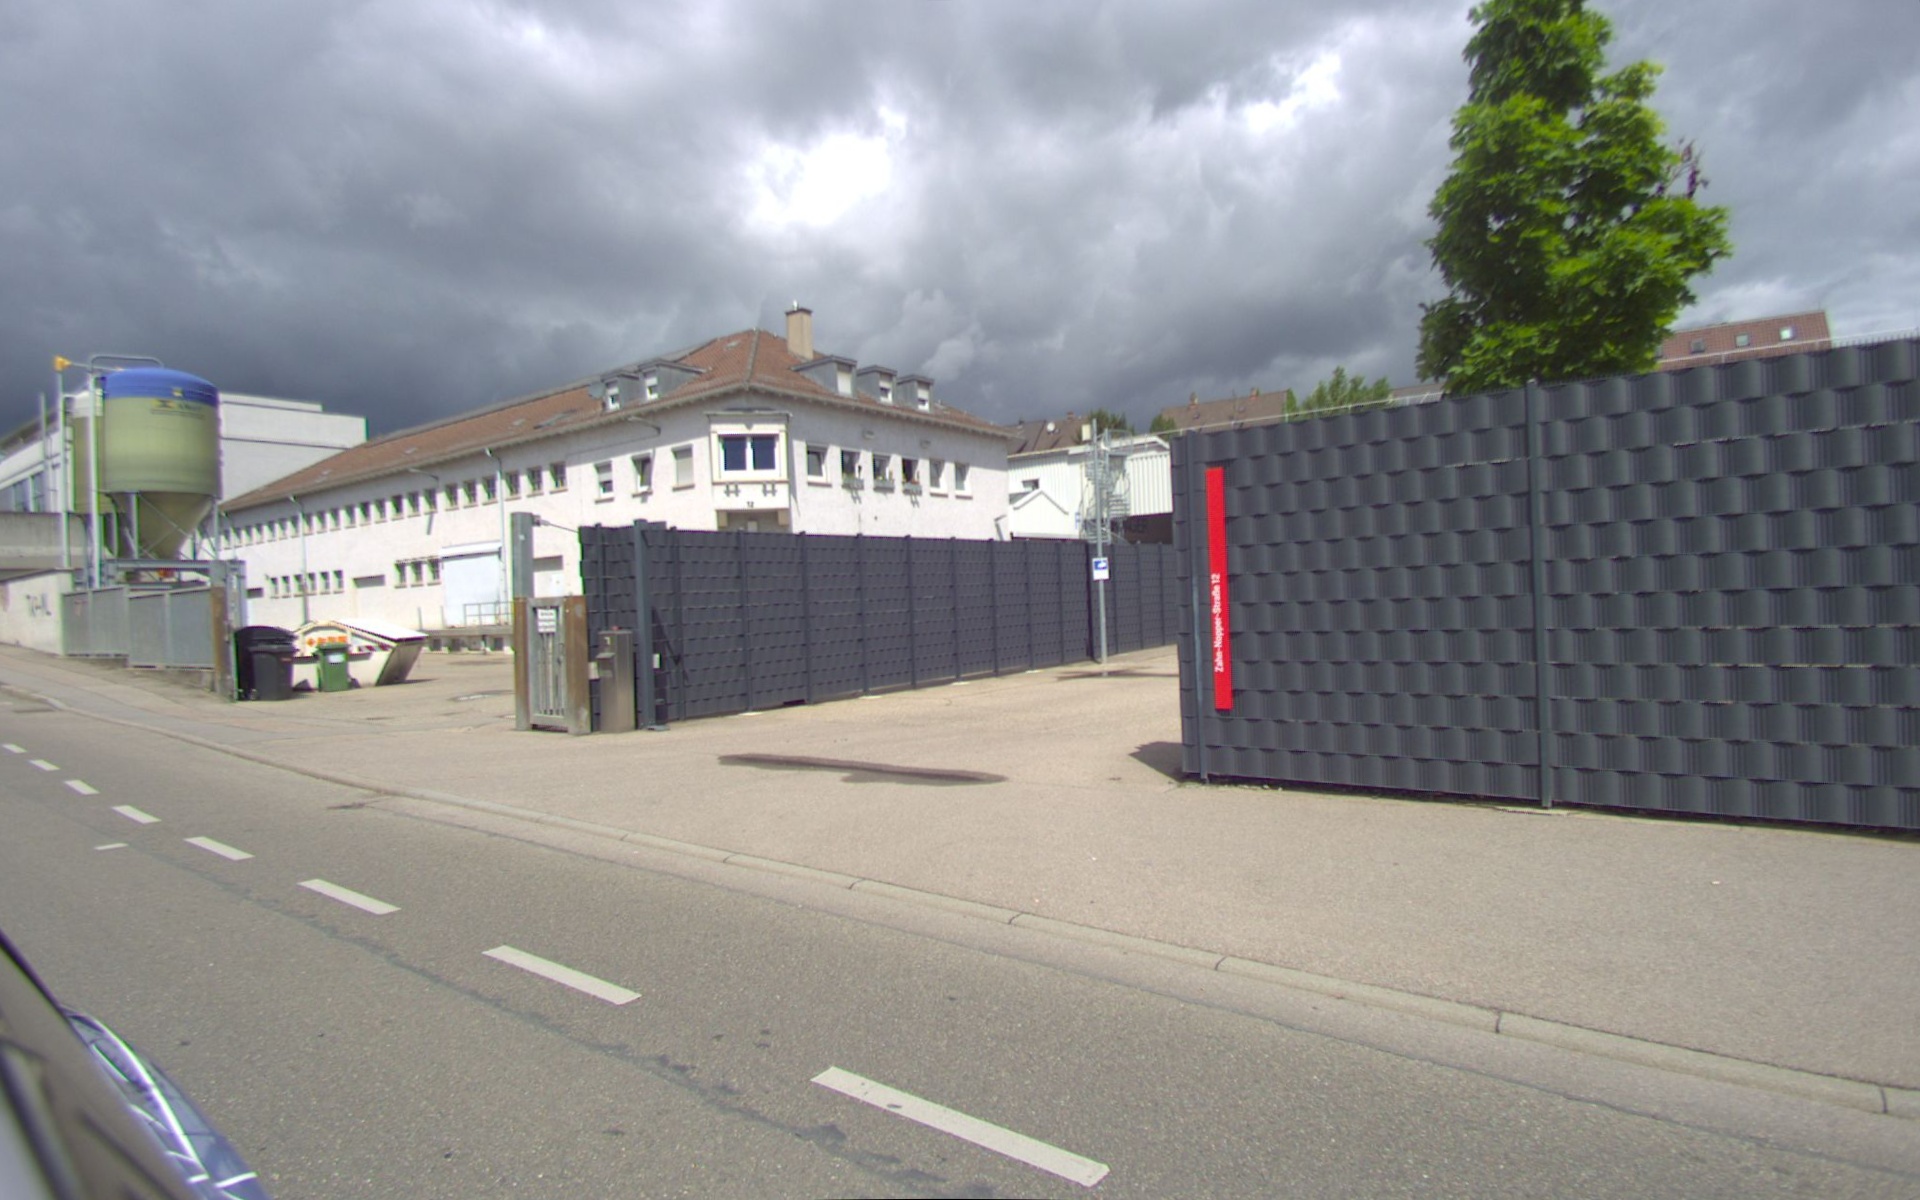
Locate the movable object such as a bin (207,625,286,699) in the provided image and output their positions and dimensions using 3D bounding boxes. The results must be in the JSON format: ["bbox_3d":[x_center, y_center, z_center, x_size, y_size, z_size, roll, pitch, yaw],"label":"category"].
[{"bbox_3d":[-14.136,1.203,20.054,1.214,1.403,0.981,-2,-2,39],"label":"movable object such as a bin"}]

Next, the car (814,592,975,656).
[{"bbox_3d":[-2.150,0.739,32.259,5.088,1.845,1.975,-1,1,38],"label":"car"}]

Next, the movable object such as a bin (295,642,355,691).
[{"bbox_3d":[-13.827,1.448,22.049,0.852,1.009,0.730,-2,0,21],"label":"movable object such as a bin"}]

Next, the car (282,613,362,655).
[{"bbox_3d":[-28.682,1.485,45.471,4.100,1.649,1.789,1,2,39],"label":"car"}]

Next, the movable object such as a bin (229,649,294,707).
[{"bbox_3d":[-13.392,1.474,19.412,0.740,1.058,0.863,-2,-2,41],"label":"movable object such as a bin"}]
